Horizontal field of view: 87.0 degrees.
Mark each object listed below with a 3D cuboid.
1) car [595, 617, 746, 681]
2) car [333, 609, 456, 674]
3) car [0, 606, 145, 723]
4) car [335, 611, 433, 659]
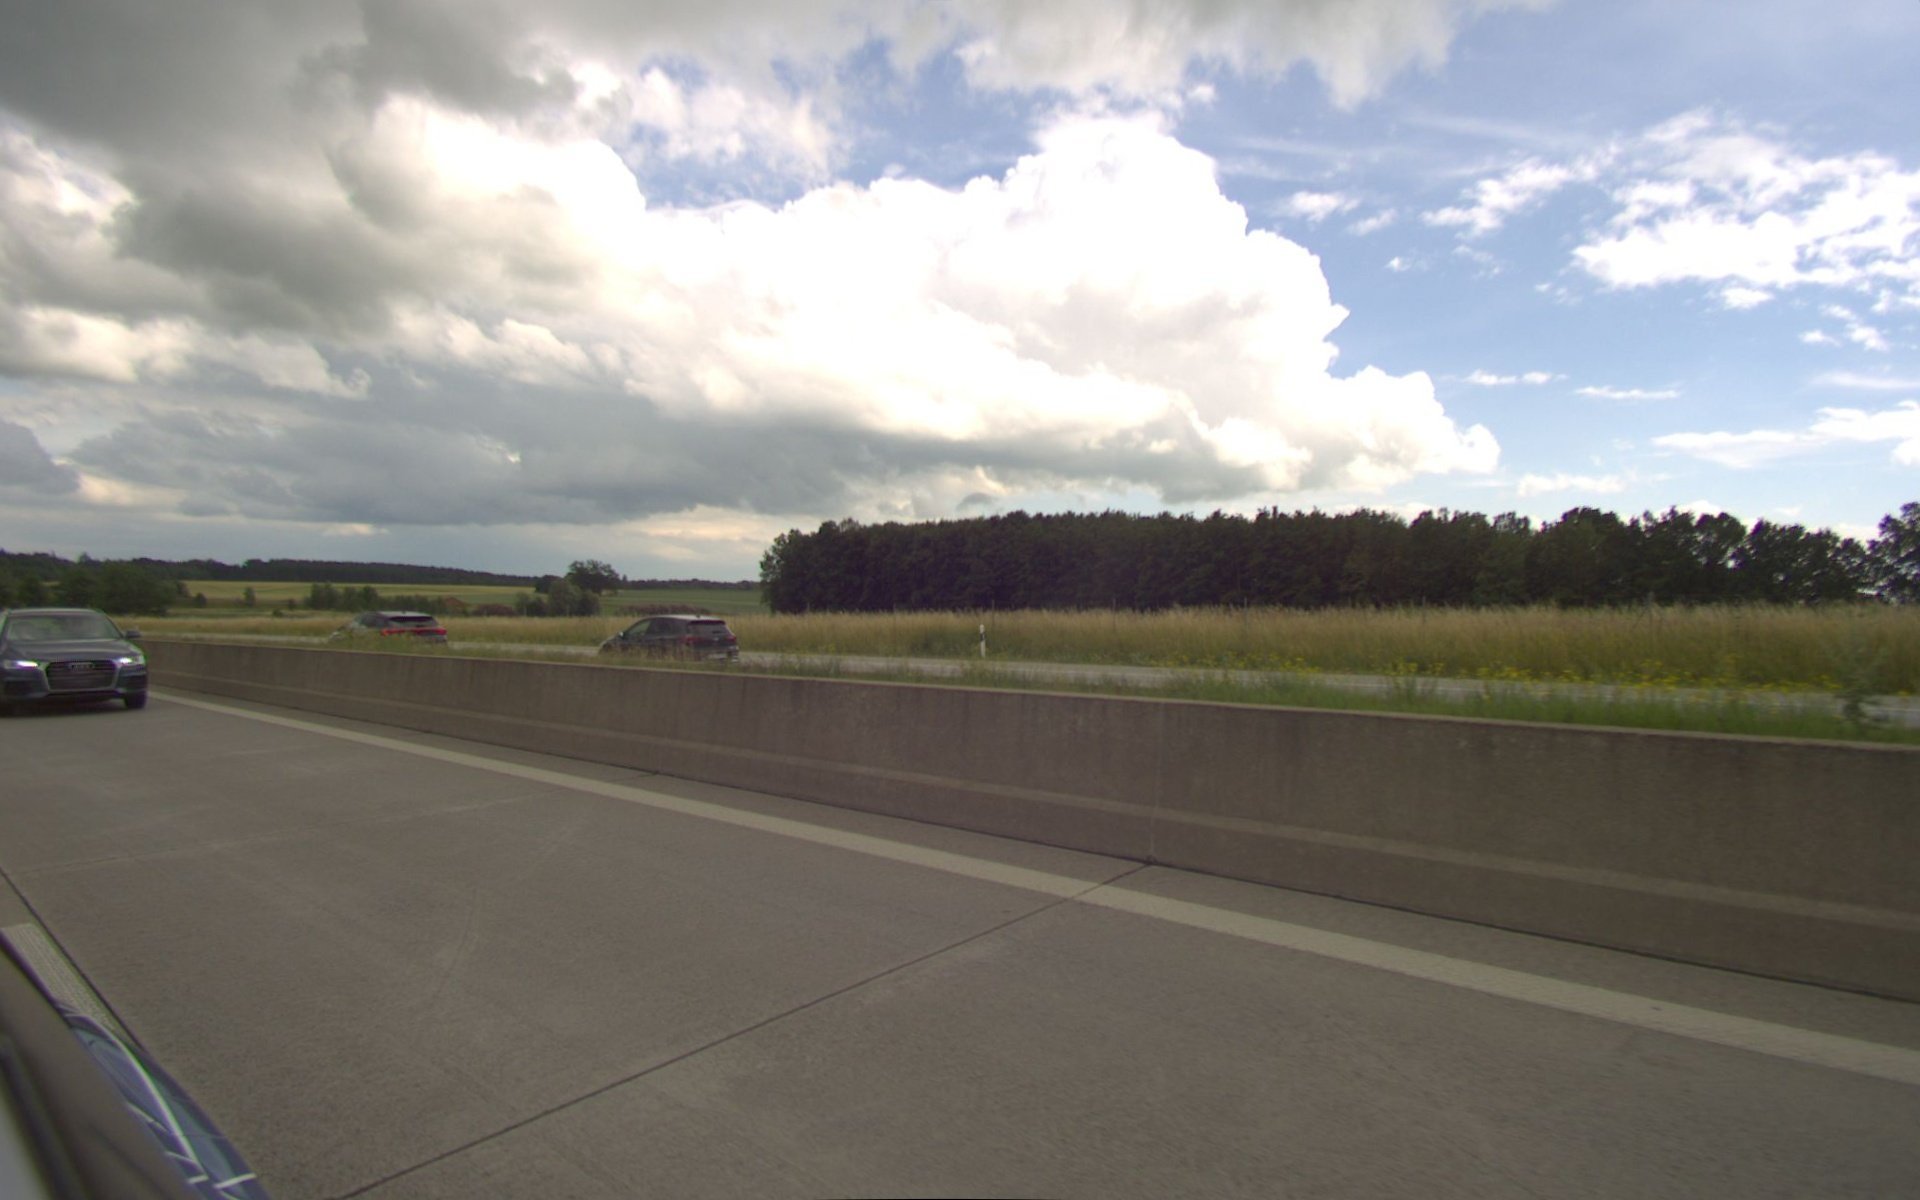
[{"bbox_3d":[-7.099,1.137,24.648,3.998,1.409,1.644,-1,-1,41],"label":"car"},{"bbox_3d":[-15.296,1.073,27.309,3.998,1.622,1.672,-1,-1,41],"label":"car"},{"bbox_3d":[-14.807,0.940,16.367,5.156,1.608,1.773,-1,0,43],"label":"car"},{"bbox_3d":[-21.536,1.282,37.793,4.061,1.697,1.973,-1,-1,41],"label":"car"}]
